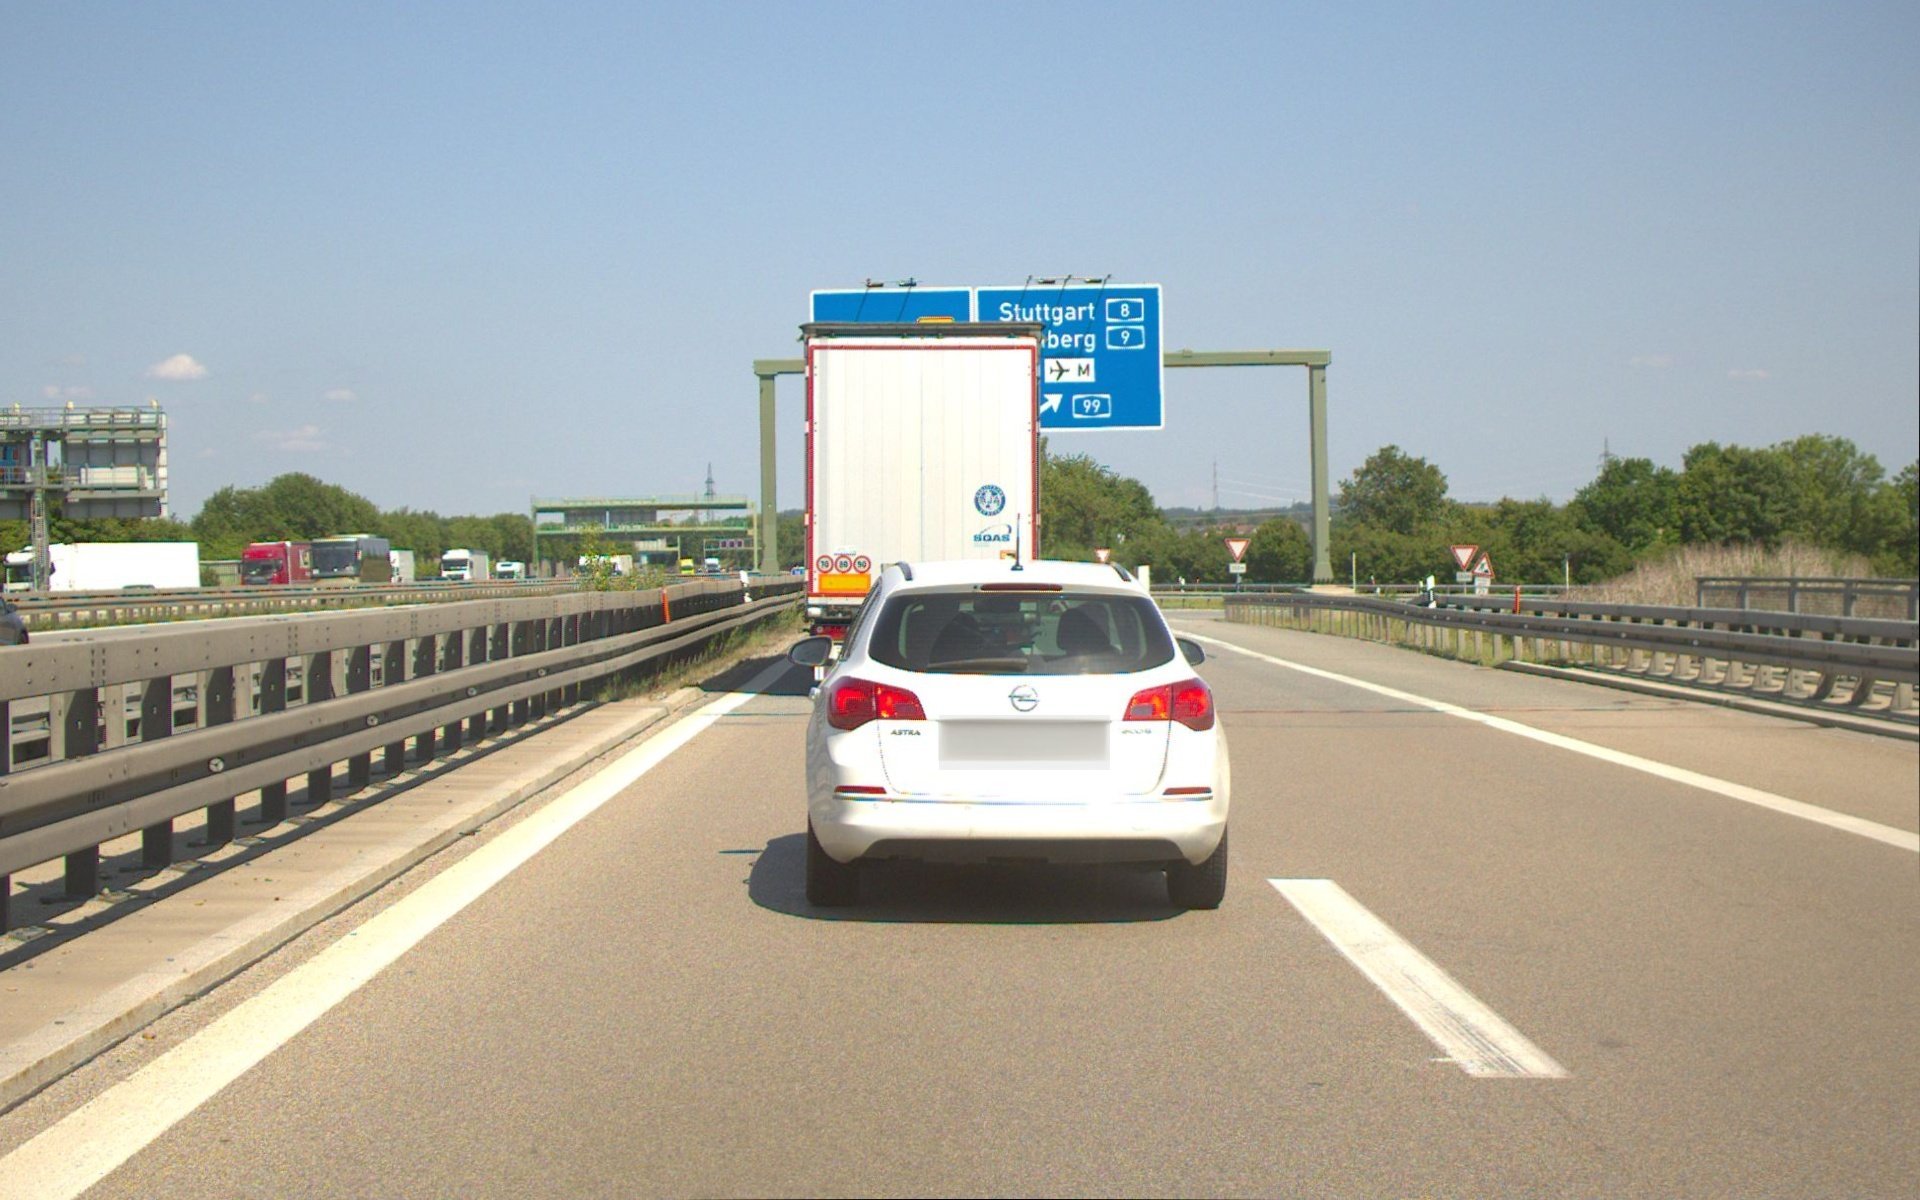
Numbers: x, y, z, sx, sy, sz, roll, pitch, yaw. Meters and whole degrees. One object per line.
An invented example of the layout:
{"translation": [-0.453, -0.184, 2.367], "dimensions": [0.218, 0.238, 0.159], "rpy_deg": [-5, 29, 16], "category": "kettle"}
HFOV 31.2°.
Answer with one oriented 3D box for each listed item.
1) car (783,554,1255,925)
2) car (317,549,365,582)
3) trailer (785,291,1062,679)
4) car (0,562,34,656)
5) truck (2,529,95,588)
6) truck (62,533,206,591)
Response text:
{"translation": [0.216, 0.523, 15.792], "dimensions": [1.854, 1.438, 4.372], "rpy_deg": [1, 1, 0], "category": "car"}
{"translation": [-31.959, -1.787, 177.513], "dimensions": [1.788, 1.634, 4.000], "rpy_deg": [0, 1, -1], "category": "car"}
{"translation": [-0.427, -1.253, 42.493], "dimensions": [2.912, 4.131, 11.258], "rpy_deg": [1, 0, 0], "category": "trailer"}
{"translation": [-15.542, 0.149, 52.363], "dimensions": [1.762, 1.417, 4.217], "rpy_deg": [0, 1, 0], "category": "car"}
{"translation": [-51.418, -2.350, 194.022], "dimensions": [1.996, 3.289, 5.379], "rpy_deg": [0, 1, 26], "category": "truck"}
{"translation": [-48.399, -2.293, 201.936], "dimensions": [1.995, 3.289, 12.160], "rpy_deg": [0, 1, 19], "category": "truck"}
